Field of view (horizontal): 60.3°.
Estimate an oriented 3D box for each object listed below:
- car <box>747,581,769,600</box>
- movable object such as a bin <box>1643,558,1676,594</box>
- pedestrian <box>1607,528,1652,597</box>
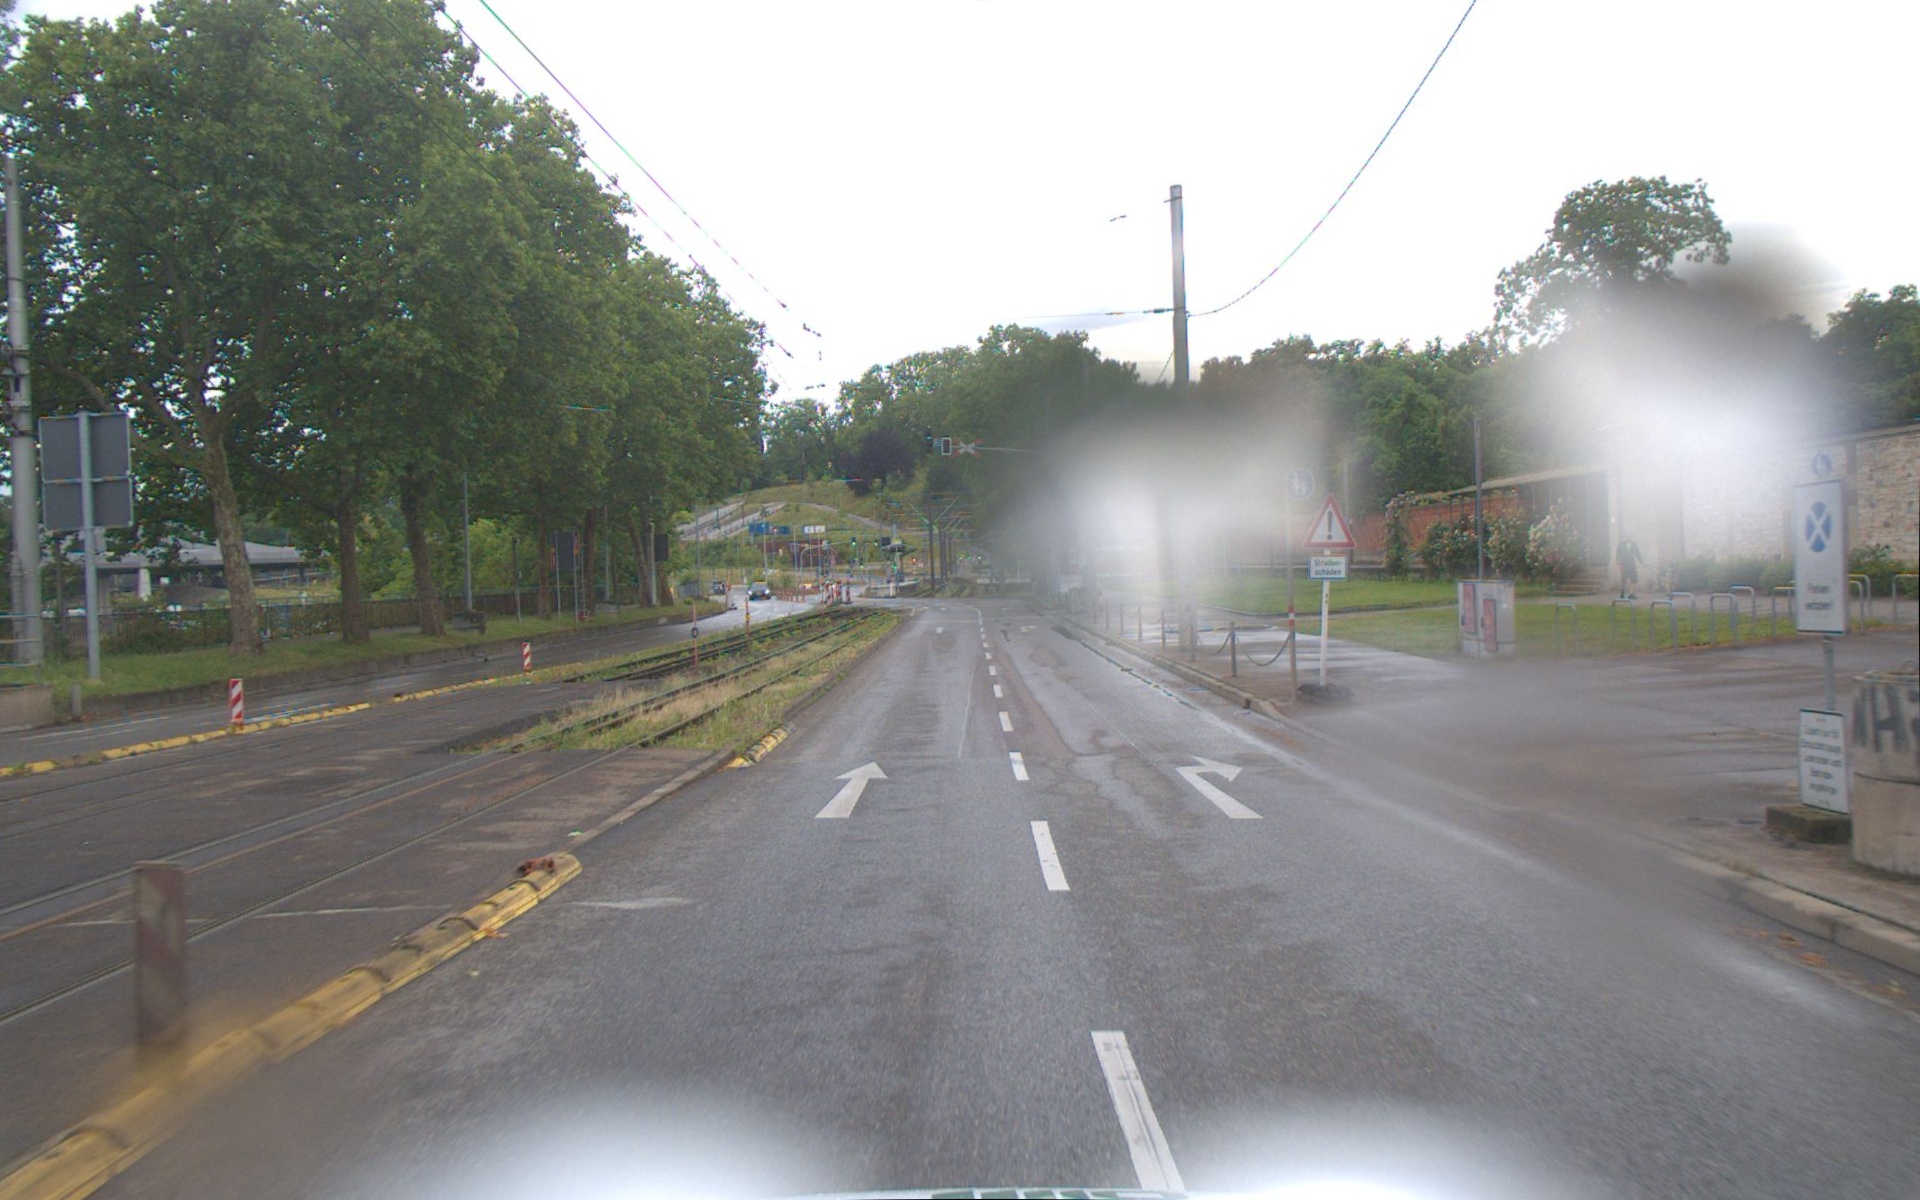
[{"bbox_3d":[-17.315,-0.845,142.088,1.713,1.454,4.555,-4,1,-6],"label":"car"},{"bbox_3d":[17.962,-0.609,42.469,0.335,0.887,1.192,-3,0,1],"label":"movable object such as a bin"},{"bbox_3d":[17.396,-0.959,43.017,0.713,1.740,0.981,-3,0,1],"label":"pedestrian"}]
